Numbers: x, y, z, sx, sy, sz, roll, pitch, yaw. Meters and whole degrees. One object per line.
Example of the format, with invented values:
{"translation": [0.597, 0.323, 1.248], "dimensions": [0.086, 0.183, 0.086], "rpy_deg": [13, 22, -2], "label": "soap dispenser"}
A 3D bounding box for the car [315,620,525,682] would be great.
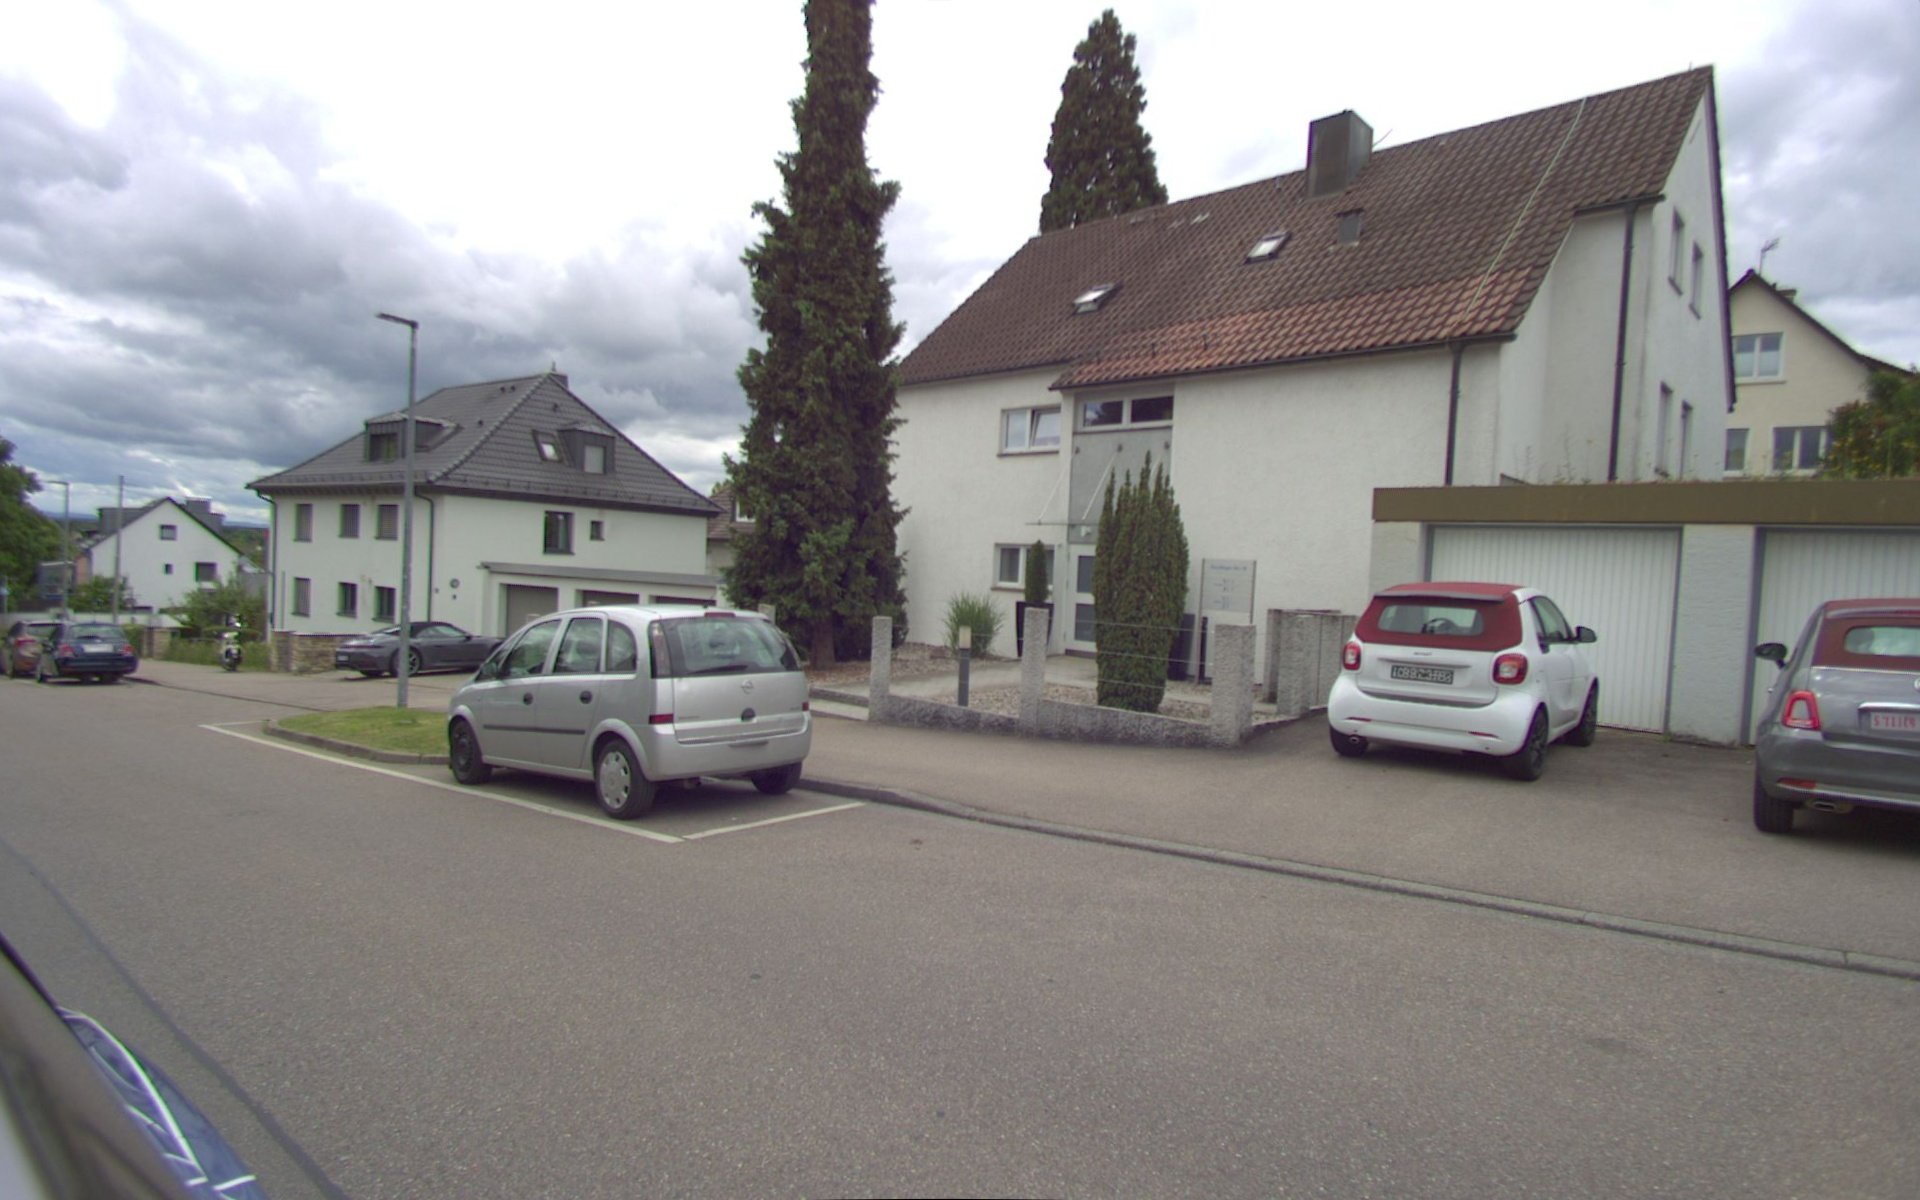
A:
{"translation": [-13.313, 1.202, 25.178], "dimensions": [1.900, 1.378, 4.249], "rpy_deg": [-1, -1, 35], "label": "car"}

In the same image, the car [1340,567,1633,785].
{"translation": [4.997, 0.523, 9.399], "dimensions": [1.656, 1.590, 3.393], "rpy_deg": [0, 2, 41], "label": "car"}

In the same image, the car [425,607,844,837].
{"translation": [-2.974, 0.881, 8.877], "dimensions": [3.852, 1.575, 1.742], "rpy_deg": [-1, -2, 40], "label": "car"}

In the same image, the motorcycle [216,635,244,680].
{"translation": [-20.610, 1.593, 28.550], "dimensions": [0.424, 1.169, 1.865], "rpy_deg": [2, -1, -41], "label": "motorcycle"}

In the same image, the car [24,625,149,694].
{"translation": [-21.569, 1.397, 24.959], "dimensions": [3.505, 1.548, 1.858], "rpy_deg": [-1, -1, 41], "label": "car"}

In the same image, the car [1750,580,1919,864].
{"translation": [6.564, 0.661, 6.877], "dimensions": [1.692, 1.523, 3.393], "rpy_deg": [0, 2, 41], "label": "car"}

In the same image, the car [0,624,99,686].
{"translation": [-25.655, 1.480, 28.293], "dimensions": [3.869, 1.597, 1.858], "rpy_deg": [-1, -1, 41], "label": "car"}
